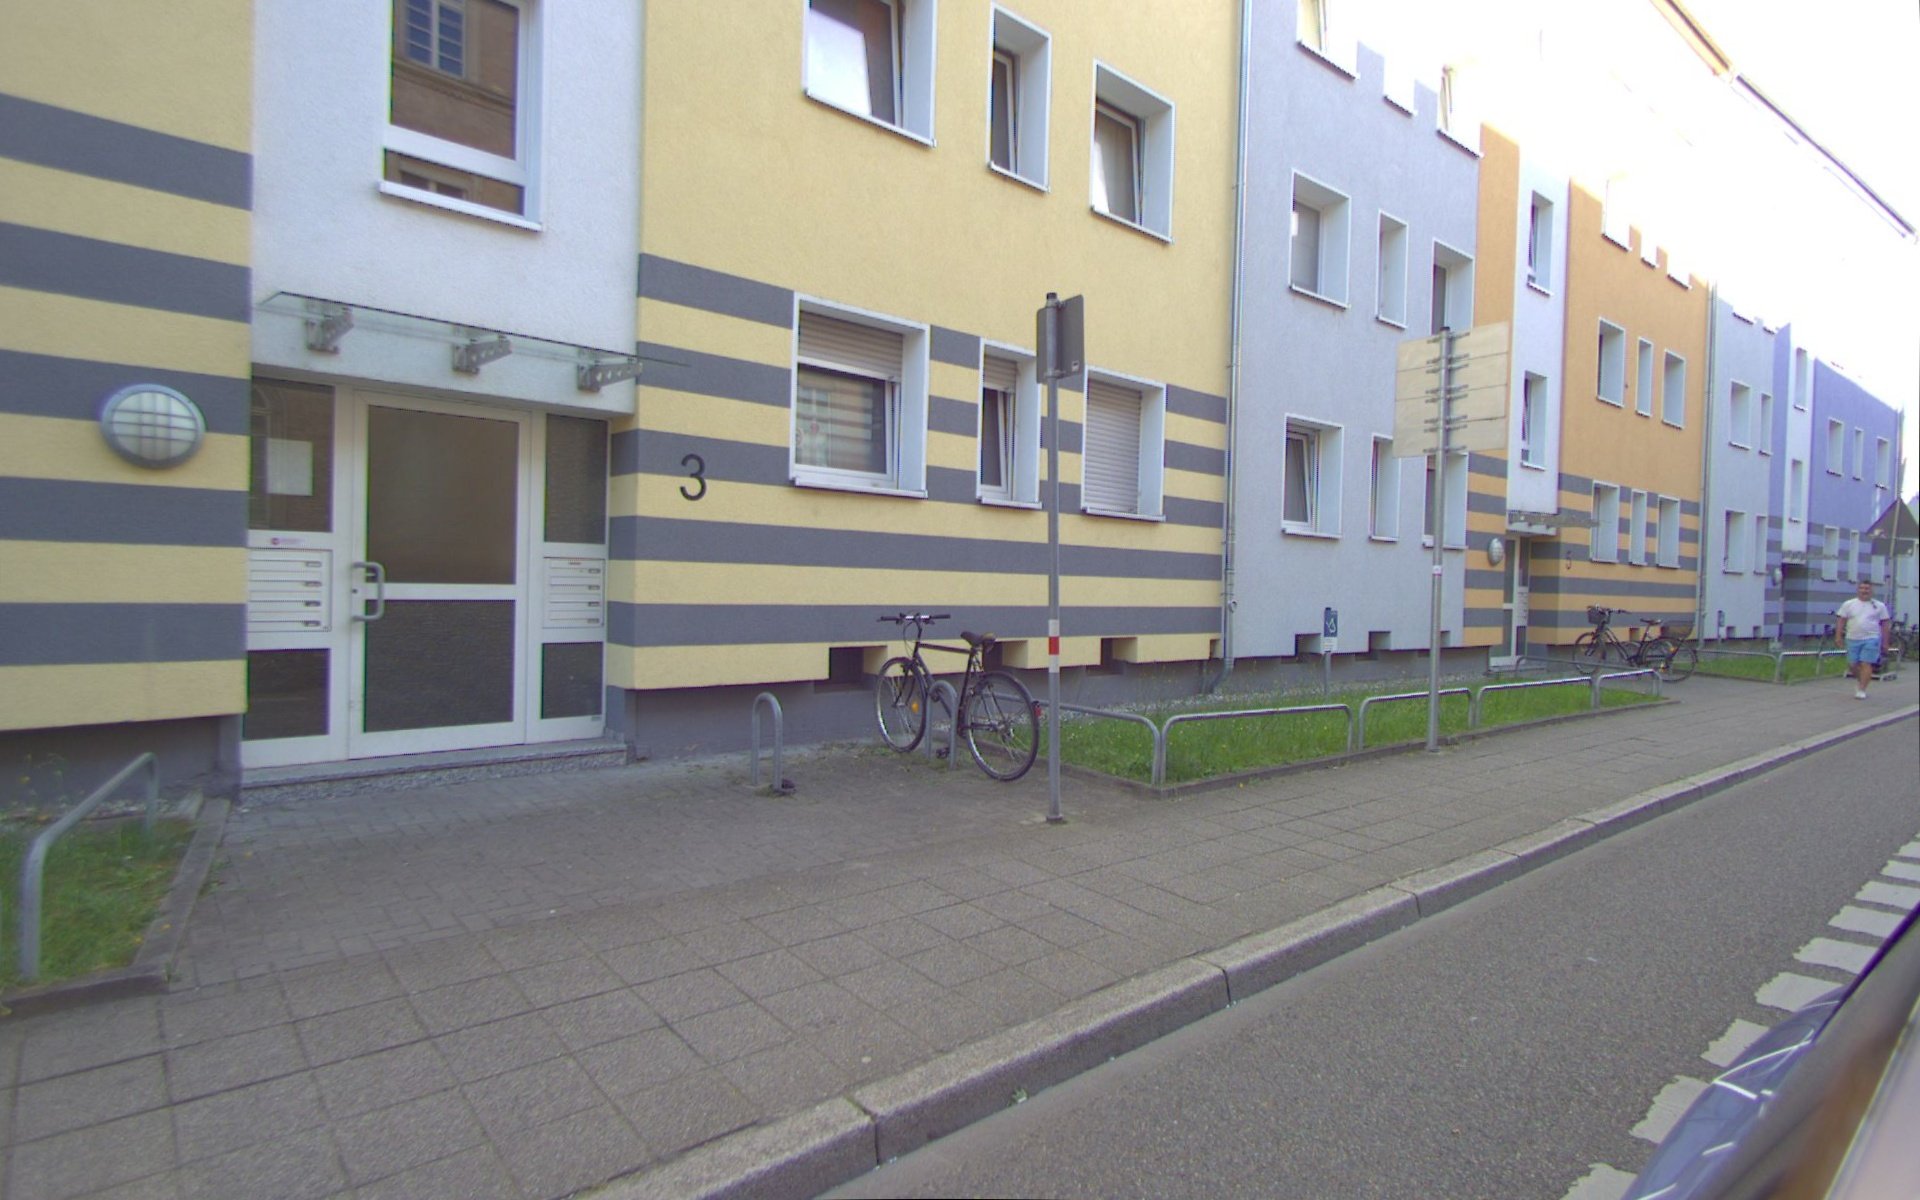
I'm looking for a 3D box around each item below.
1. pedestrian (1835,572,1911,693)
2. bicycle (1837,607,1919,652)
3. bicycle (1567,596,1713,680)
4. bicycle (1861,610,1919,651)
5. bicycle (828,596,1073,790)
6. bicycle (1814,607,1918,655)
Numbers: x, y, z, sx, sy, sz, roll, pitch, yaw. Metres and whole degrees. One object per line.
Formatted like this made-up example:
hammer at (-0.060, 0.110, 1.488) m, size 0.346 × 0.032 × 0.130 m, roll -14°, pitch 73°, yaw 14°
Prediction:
pedestrian at (13.375, 0.453, 14.828) m, size 0.819 × 1.692 × 0.644 m, roll 1°, pitch 2°, yaw -39°
bicycle at (23.353, 0.734, 25.486) m, size 0.572 × 1.007 × 1.779 m, roll 1°, pitch 3°, yaw -33°
bicycle at (10.691, 0.569, 15.958) m, size 0.574 × 1.138 × 1.775 m, roll 0°, pitch 4°, yaw -42°
bicycle at (24.056, 0.790, 25.593) m, size 0.572 × 0.950 × 1.779 m, roll 1°, pitch 3°, yaw -33°
bicycle at (-0.121, 0.559, 6.935) m, size 1.773 × 1.061 × 0.574 m, roll 5°, pitch 4°, yaw 45°
bicycle at (22.190, 0.731, 24.816) m, size 0.572 × 1.007 × 1.779 m, roll 1°, pitch 3°, yaw -33°
